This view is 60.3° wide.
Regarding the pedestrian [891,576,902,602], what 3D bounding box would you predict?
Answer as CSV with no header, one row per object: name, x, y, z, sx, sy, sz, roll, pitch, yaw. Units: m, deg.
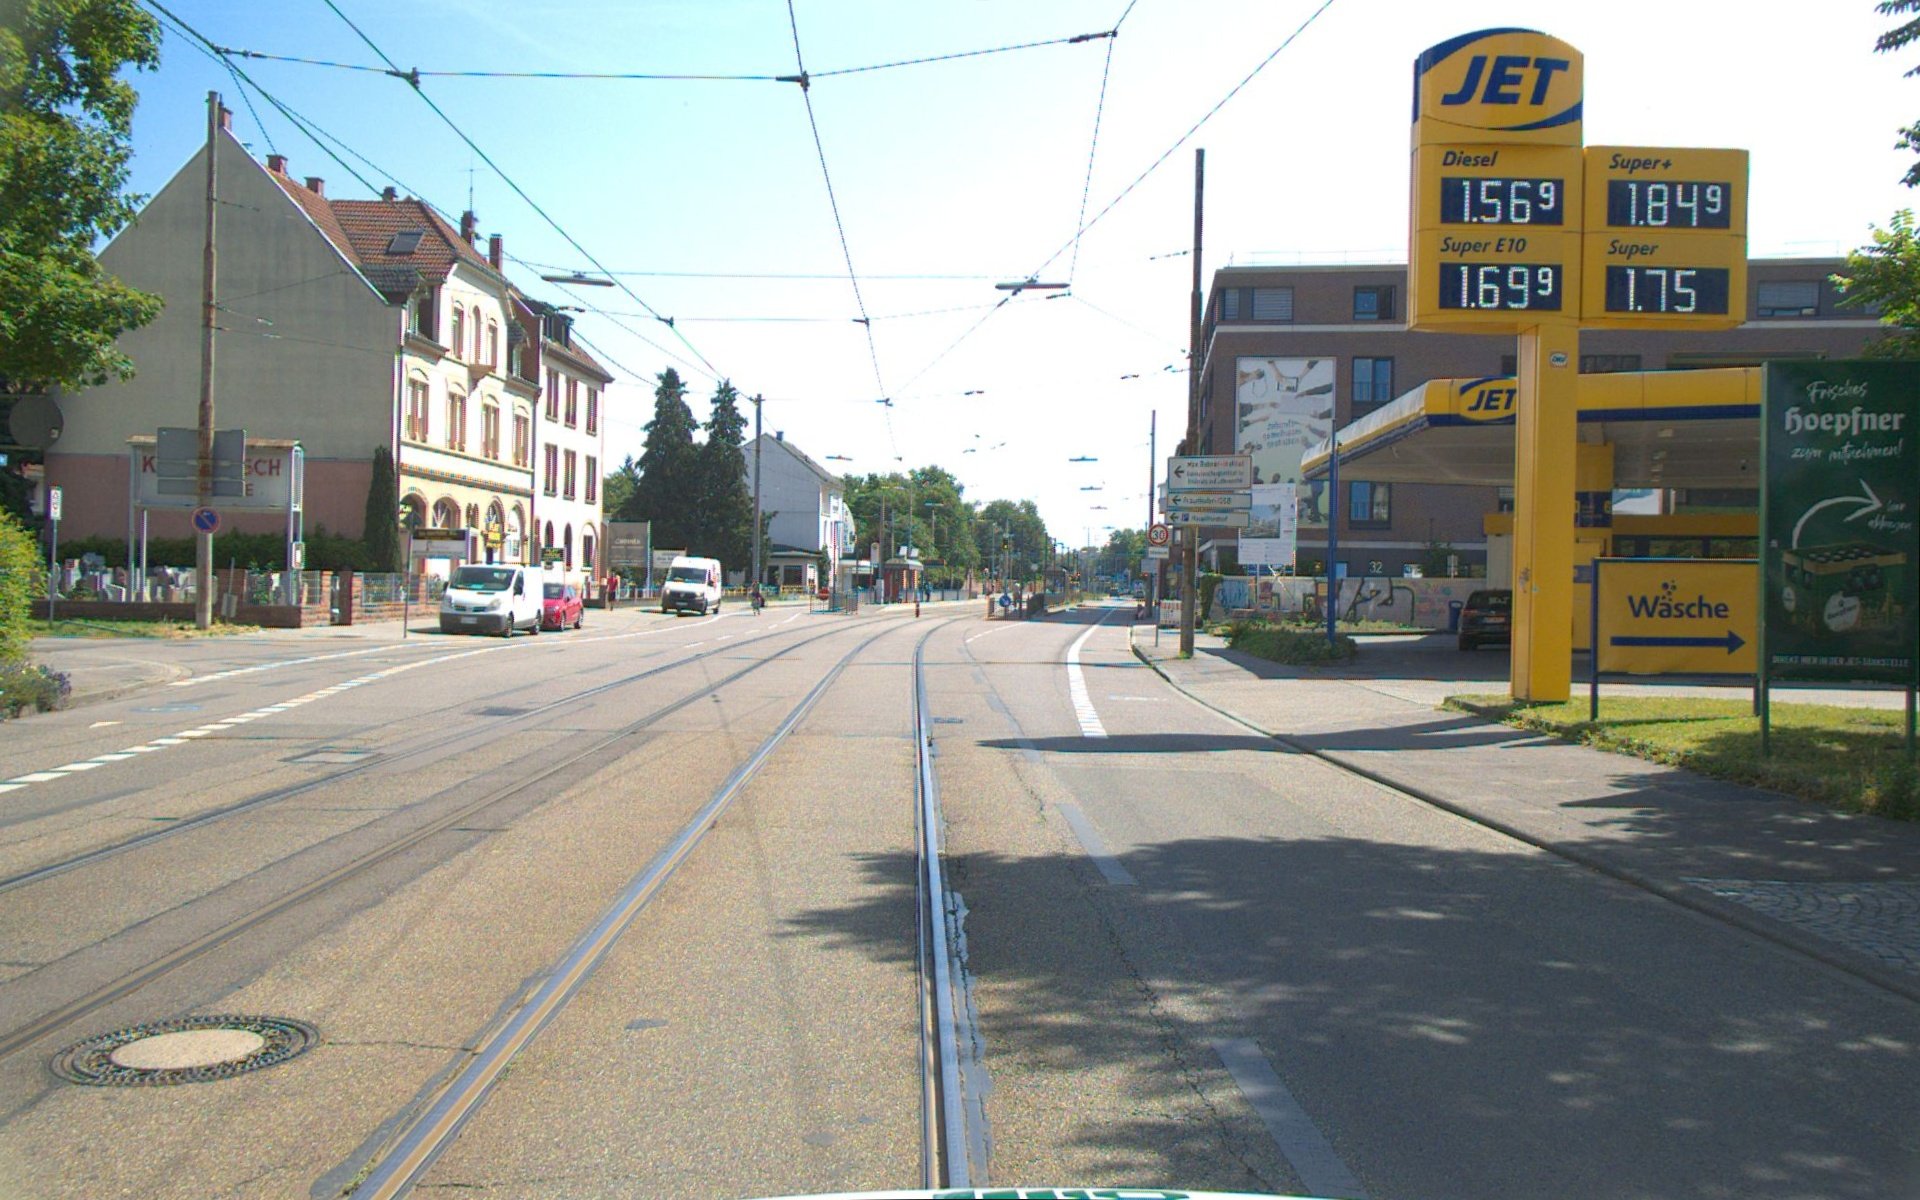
pedestrian,-4.217,-0.712,109.908,0.691,1.719,0.416,1,0,-2

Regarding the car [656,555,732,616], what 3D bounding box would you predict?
car,-12.225,-0.692,76.461,2.282,2.579,6.507,3,1,0

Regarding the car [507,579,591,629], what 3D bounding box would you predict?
car,-13.010,0.089,52.565,1.685,1.430,4.001,1,2,0

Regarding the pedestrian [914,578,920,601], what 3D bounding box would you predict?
pedestrian,-3.141,-0.767,120.779,0.407,1.719,0.706,1,0,-7

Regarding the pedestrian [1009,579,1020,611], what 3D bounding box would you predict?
pedestrian,3.031,-0.288,91.762,0.544,1.790,0.793,1,1,0

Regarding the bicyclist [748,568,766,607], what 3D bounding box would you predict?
bicyclist,-9.310,-0.561,75.952,0.701,1.754,0.987,1,0,-2

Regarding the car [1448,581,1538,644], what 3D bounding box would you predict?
car,13.396,0.275,41.431,1.720,1.481,4.408,1,1,23

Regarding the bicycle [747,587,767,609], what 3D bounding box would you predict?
bicycle,-9.317,-0.094,75.928,0.596,1.001,2.164,1,1,1

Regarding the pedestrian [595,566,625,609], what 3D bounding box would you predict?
pedestrian,-15.370,-0.545,72.569,0.922,1.847,1.131,1,1,8

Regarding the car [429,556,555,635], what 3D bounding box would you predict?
car,-13.028,-0.146,46.397,2.041,2.049,4.908,2,0,0
